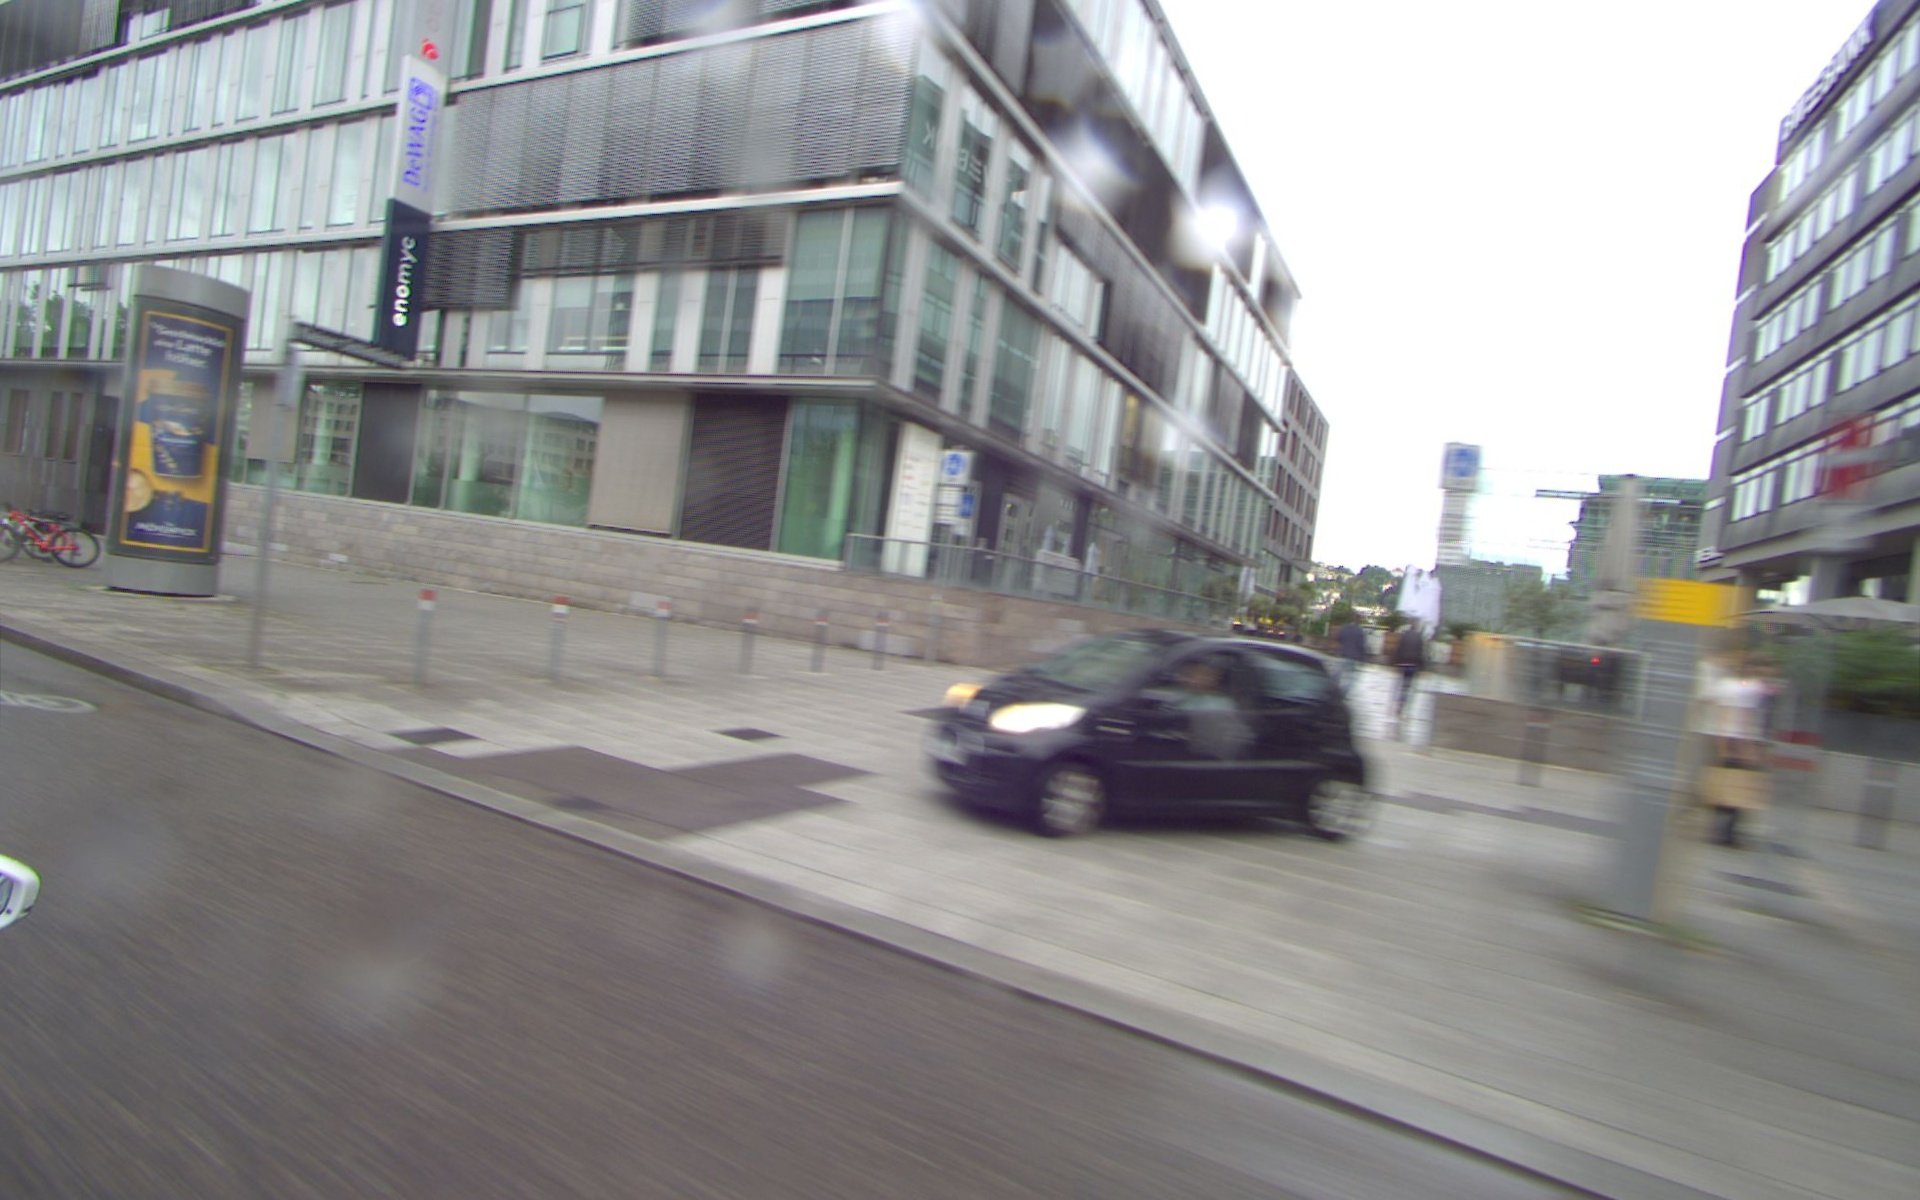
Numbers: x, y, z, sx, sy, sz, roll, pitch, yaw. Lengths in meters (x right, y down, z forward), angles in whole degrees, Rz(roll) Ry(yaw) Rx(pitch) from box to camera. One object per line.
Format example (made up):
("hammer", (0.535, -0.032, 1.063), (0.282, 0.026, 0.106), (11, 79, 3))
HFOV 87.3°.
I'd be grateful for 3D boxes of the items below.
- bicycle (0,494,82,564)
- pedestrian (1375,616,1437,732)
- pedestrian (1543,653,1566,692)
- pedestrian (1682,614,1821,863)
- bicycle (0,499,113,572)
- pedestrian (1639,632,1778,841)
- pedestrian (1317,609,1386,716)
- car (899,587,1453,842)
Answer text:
("bicycle", (-18.148, -1.387, 19.282), (0.650, 1.213, 1.835), (7, 2, 36))
("pedestrian", (7.544, 1.246, 17.005), (0.670, 1.845, 0.650), (8, 1, 32))
("pedestrian", (29.397, 3.585, 49.757), (0.645, 1.862, 0.578), (7, 1, 13))
("pedestrian", (7.180, 1.228, 9.161), (0.742, 2.064, 0.849), (8, 1, 38))
("bicycle", (-16.708, -1.185, 18.171), (0.796, 1.118, 1.983), (7, 1, 36))
("pedestrian", (7.497, 1.337, 10.083), (0.885, 1.891, 0.800), (8, 1, 40))
("pedestrian", (6.807, 1.092, 17.493), (0.769, 1.746, 0.642), (8, 1, 37))
("car", (1.631, 0.870, 7.788), (3.780, 1.434, 1.628), (7, 0, -19))
